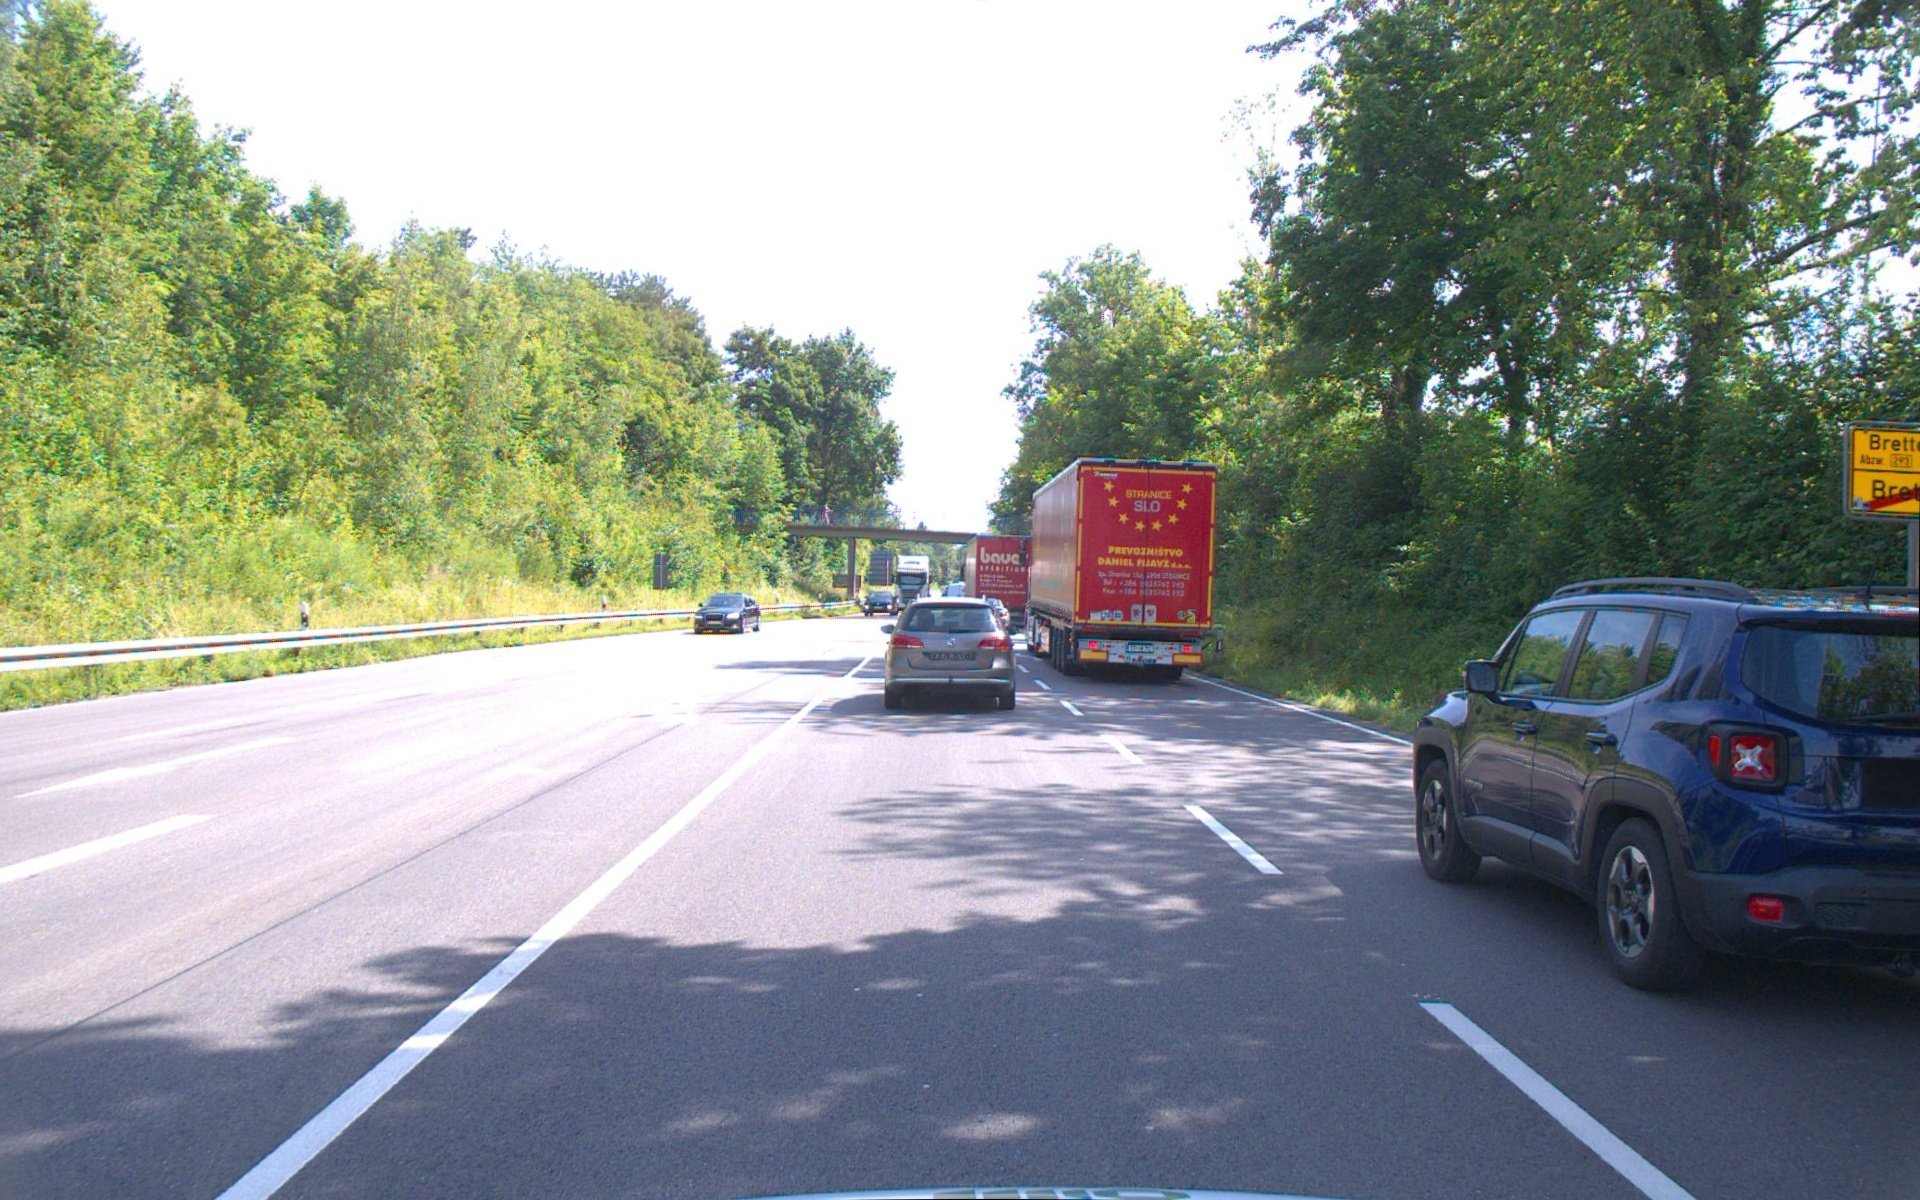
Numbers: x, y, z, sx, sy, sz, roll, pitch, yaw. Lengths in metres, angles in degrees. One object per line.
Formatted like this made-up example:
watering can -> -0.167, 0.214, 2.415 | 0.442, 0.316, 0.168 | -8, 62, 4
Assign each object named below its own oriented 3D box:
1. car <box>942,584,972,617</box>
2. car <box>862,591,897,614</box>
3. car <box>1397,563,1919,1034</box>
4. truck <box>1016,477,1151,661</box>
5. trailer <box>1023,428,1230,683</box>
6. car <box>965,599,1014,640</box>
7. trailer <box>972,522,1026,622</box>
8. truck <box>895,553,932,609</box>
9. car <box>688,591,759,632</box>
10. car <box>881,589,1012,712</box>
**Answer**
car -> -0.216, 0.048, 101.136 | 1.734, 1.970, 3.976 | 0, 0, -1
car -> -4.920, 0.144, 101.527 | 1.758, 1.369, 3.769 | 0, 0, 3
car -> 3.560, 0.723, 7.965 | 1.735, 1.683, 3.998 | 0, 0, -2
truck -> 3.094, -0.725, 43.016 | 2.812, 4.356, 5.837 | 2, -1, -1
trailer -> 3.220, -0.750, 36.065 | 2.782, 4.442, 13.163 | 2, 0, -1
car -> 1.093, 0.751, 63.765 | 1.734, 1.539, 3.999 | 0, 0, -1
trailer -> 1.796, -1.160, 77.998 | 2.346, 4.318, 13.078 | 0, 0, 1
truck -> -3.520, -1.356, 124.981 | 2.717, 4.000, 9.463 | 0, 0, -2
car -> -8.644, 0.424, 60.663 | 1.922, 1.439, 4.000 | 0, 0, 1
car -> -0.214, 0.651, 22.841 | 1.657, 1.539, 3.999 | 0, 0, -1
